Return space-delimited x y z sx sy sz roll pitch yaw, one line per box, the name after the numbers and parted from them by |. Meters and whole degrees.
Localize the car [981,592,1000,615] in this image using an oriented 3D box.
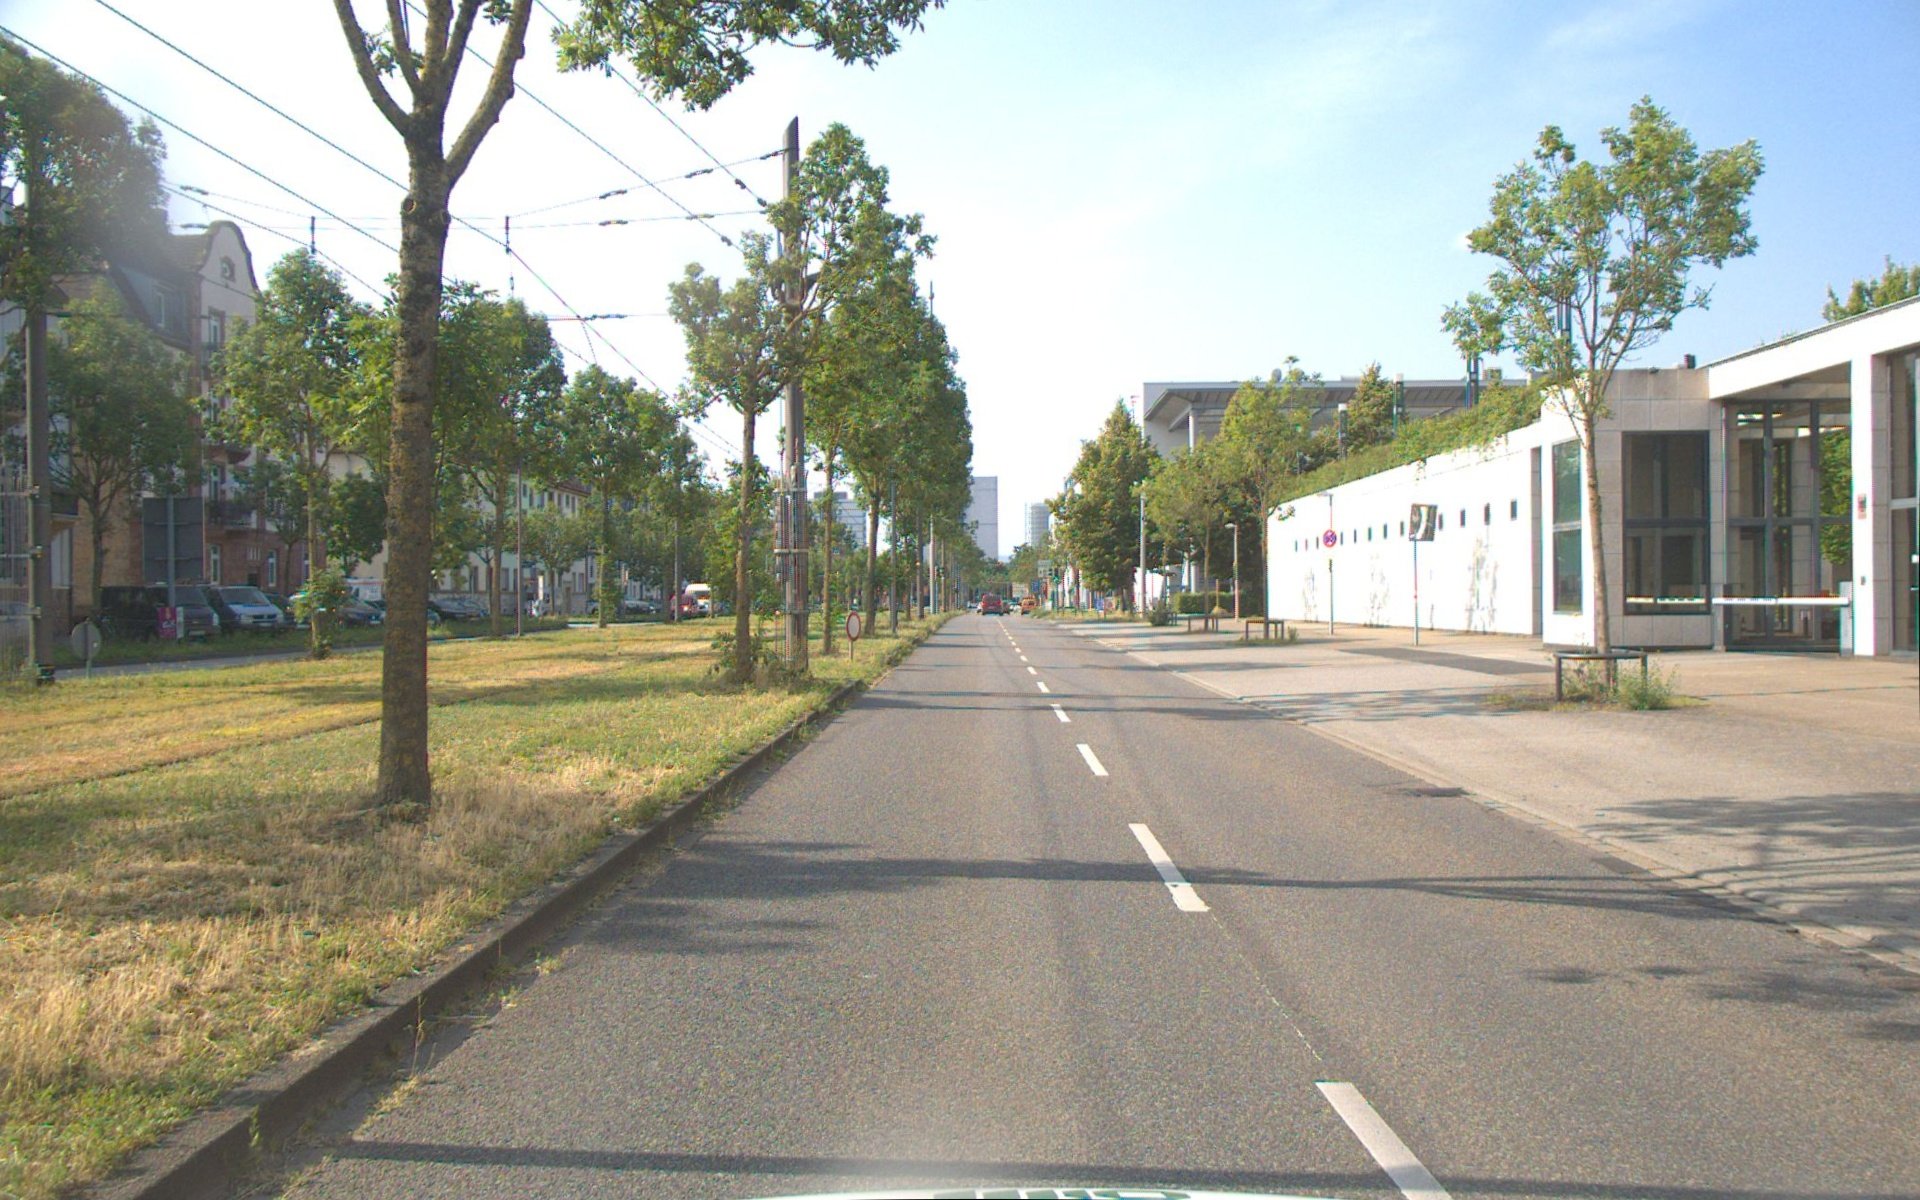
2.796 0.315 151.116 1.712 2.049 3.216 2 0 1 | car

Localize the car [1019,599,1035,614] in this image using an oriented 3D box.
7.707 0.736 190.446 1.712 1.679 3.216 2 0 1 | car

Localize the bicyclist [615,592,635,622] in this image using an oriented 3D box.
-20.748 0.427 102.541 1.126 1.792 0.684 2 -1 -10 | bicyclist

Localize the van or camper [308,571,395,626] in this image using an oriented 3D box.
-30.759 -0.056 83.807 1.997 2.612 6.356 2 0 0 | van or camper

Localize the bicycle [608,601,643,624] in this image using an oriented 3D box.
-20.748 0.781 102.560 2.029 1.347 0.782 2 0 -10 | bicycle

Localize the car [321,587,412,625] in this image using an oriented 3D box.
-24.501 0.231 68.275 3.920 1.442 1.571 2 0 36 | car

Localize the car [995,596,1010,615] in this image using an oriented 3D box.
4.945 0.638 192.019 1.712 2.049 3.216 2 0 1 | car

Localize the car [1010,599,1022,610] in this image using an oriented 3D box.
8.252 0.680 244.450 1.712 1.679 3.216 2 0 1 | car

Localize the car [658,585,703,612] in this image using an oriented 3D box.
-18.698 -0.076 110.943 1.923 1.723 4.299 2 0 4 | car

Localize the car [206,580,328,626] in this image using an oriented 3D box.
-23.983 0.110 57.201 4.390 1.444 1.966 2 0 38 | car

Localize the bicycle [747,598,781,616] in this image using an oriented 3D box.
-12.242 0.449 103.497 2.025 1.060 0.667 2 0 -3 | bicycle

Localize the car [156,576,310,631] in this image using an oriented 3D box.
-23.962 0.113 54.445 5.110 1.652 2.052 2 0 31 | car

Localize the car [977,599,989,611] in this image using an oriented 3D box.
3.397 0.727 245.417 1.712 1.679 3.216 2 0 1 | car

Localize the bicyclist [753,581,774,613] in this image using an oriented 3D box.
-12.302 -0.180 103.471 1.123 1.968 0.686 2 -1 1 | bicyclist

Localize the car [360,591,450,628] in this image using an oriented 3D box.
-23.637 0.384 70.423 3.917 1.442 1.572 2 0 34 | car

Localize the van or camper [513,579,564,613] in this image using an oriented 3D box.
-30.833 -0.302 121.103 1.952 2.369 5.829 2 0 2 | van or camper

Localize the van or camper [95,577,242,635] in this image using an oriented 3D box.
-24.866 0.167 51.935 4.750 1.652 1.997 2 0 34 | van or camper

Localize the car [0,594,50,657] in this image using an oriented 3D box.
-26.535 0.672 44.419 1.851 1.657 4.156 2 0 -1 | car

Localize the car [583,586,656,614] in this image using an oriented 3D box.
-23.971 0.014 116.427 5.219 1.768 1.993 2 0 35 | car

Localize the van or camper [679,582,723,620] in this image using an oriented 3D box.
-18.425 0.075 117.885 2.158 2.575 6.030 2 0 0 | van or camper

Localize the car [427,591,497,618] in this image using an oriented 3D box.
-23.411 0.209 77.804 3.099 1.181 1.492 2 0 33 | car
